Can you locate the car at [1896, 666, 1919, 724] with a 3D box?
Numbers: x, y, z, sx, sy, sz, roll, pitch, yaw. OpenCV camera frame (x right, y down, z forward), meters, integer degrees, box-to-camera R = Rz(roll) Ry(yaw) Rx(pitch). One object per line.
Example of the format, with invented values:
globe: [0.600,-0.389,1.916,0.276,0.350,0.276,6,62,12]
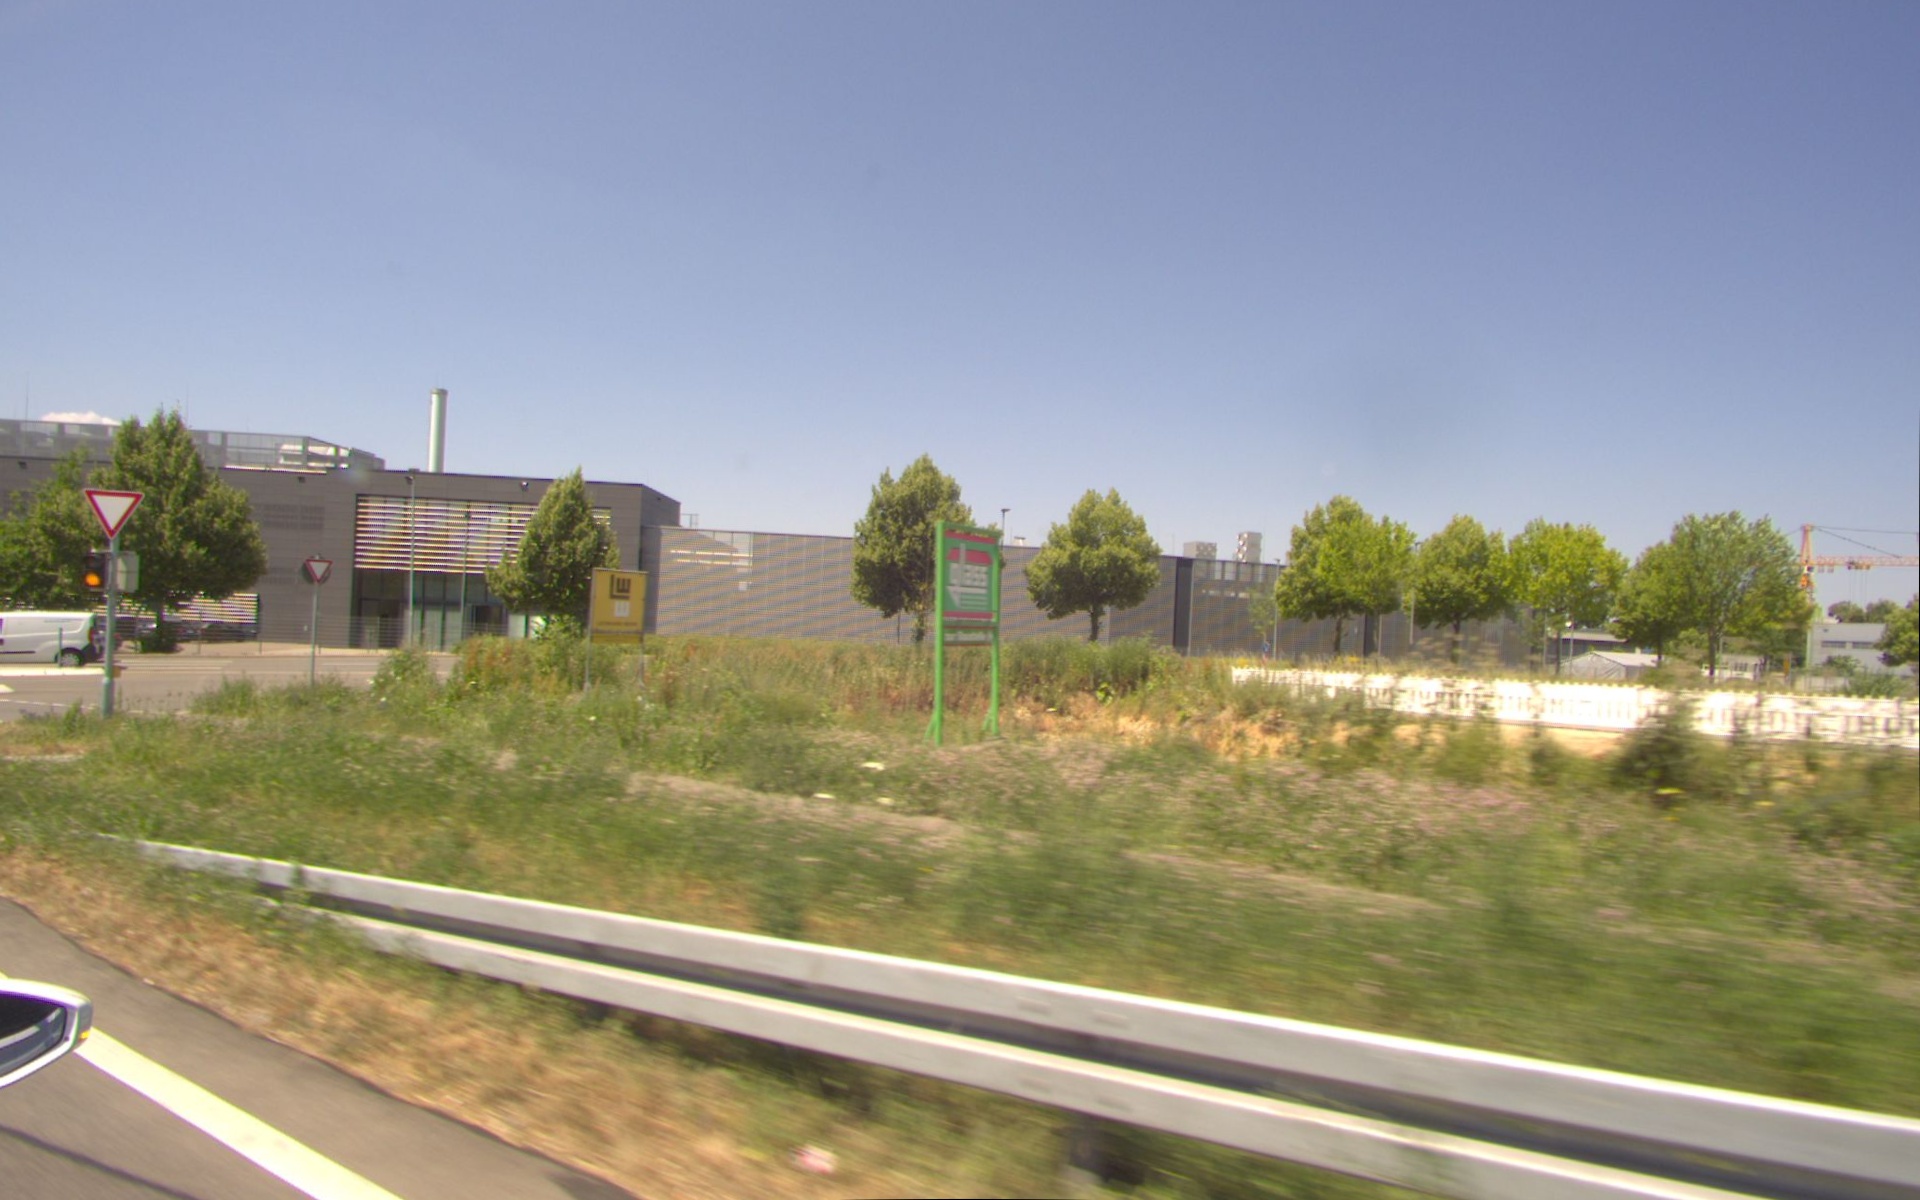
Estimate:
car: [32.189,2.999,30.268,2.069,1.838,5.328,2,-3,-23]

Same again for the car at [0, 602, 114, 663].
car: [-30.871,1.050,32.733,4.703,1.957,2.138,2,-2,-37]
